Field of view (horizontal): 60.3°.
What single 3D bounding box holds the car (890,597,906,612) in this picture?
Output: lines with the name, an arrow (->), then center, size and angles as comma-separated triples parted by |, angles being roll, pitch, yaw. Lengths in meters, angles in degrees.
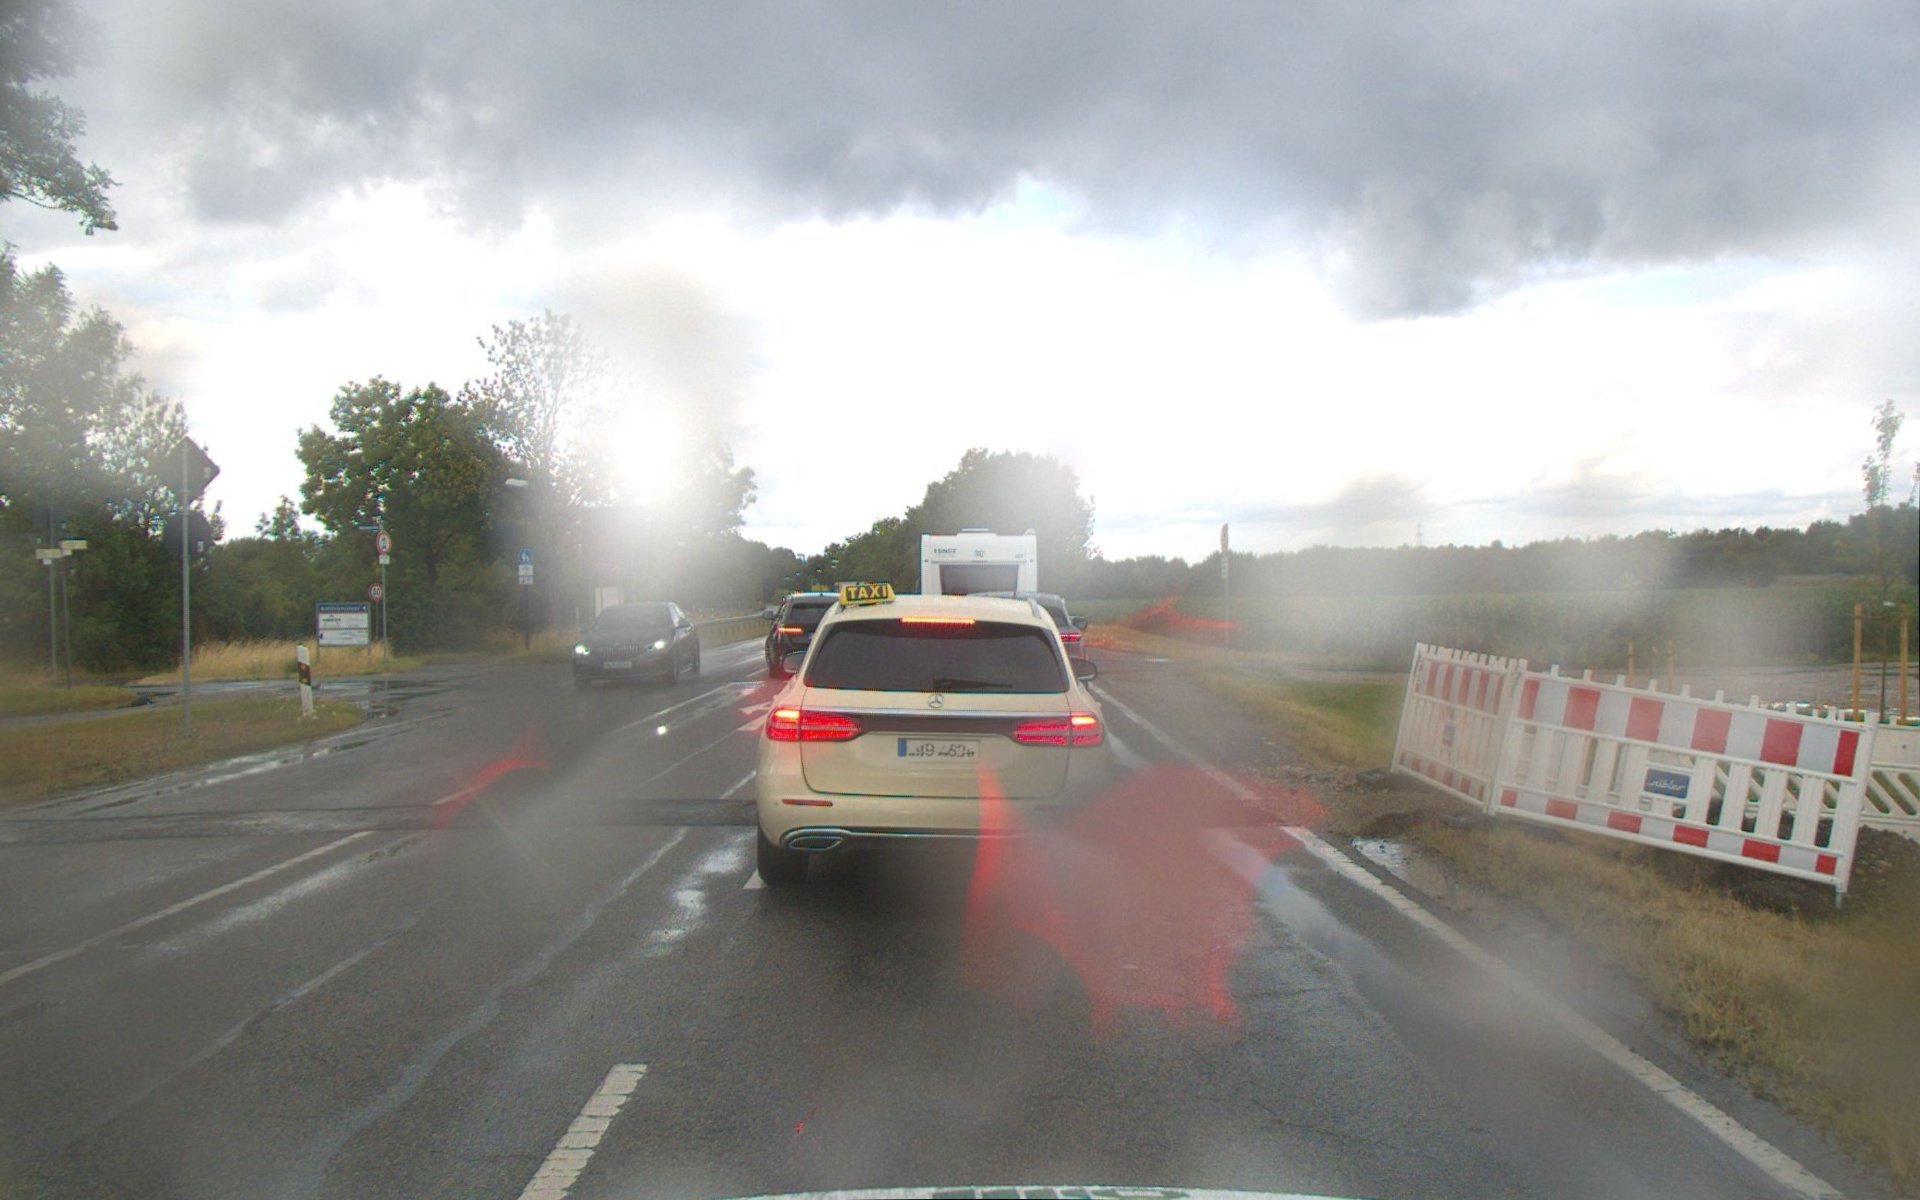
car -> -7.478, 0.557, 197.945 | 1.714, 1.691, 3.669 | -1, 0, -5

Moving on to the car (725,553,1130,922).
car -> -0.172, 0.619, 9.430 | 1.805, 1.646, 3.999 | 0, 0, -1

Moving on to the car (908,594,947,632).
car -> -1.649, 0.657, 85.518 | 1.876, 1.873, 3.795 | -1, 0, 0

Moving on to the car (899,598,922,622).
car -> -3.855, 0.771, 129.704 | 1.755, 1.808, 3.720 | -1, 0, -1

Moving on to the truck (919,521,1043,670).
truck -> 0.347, -0.097, 35.068 | 2.315, 2.776, 7.313 | -1, 0, -1

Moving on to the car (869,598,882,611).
car -> -12.565, 0.729, 245.719 | 1.857, 1.872, 3.881 | -1, 0, -1

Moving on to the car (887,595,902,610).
car -> -8.340, 0.305, 210.464 | 1.858, 1.928, 3.840 | -1, 0, -4

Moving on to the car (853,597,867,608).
car -> -15.110, 0.434, 250.568 | 1.791, 1.601, 3.999 | 1, 0, 0

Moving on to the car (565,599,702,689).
car -> -5.825, 0.740, 29.949 | 1.685, 1.429, 4.043 | -3, 0, -1

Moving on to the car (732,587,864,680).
car -> -3.089, 0.582, 30.942 | 2.258, 1.574, 4.625 | 1, 0, -7

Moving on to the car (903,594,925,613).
car -> -4.397, 0.340, 157.625 | 1.954, 1.803, 3.996 | -1, 0, -5

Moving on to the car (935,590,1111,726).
car -> 0.679, 0.658, 20.561 | 1.953, 1.488, 3.999 | 1, 0, -1
